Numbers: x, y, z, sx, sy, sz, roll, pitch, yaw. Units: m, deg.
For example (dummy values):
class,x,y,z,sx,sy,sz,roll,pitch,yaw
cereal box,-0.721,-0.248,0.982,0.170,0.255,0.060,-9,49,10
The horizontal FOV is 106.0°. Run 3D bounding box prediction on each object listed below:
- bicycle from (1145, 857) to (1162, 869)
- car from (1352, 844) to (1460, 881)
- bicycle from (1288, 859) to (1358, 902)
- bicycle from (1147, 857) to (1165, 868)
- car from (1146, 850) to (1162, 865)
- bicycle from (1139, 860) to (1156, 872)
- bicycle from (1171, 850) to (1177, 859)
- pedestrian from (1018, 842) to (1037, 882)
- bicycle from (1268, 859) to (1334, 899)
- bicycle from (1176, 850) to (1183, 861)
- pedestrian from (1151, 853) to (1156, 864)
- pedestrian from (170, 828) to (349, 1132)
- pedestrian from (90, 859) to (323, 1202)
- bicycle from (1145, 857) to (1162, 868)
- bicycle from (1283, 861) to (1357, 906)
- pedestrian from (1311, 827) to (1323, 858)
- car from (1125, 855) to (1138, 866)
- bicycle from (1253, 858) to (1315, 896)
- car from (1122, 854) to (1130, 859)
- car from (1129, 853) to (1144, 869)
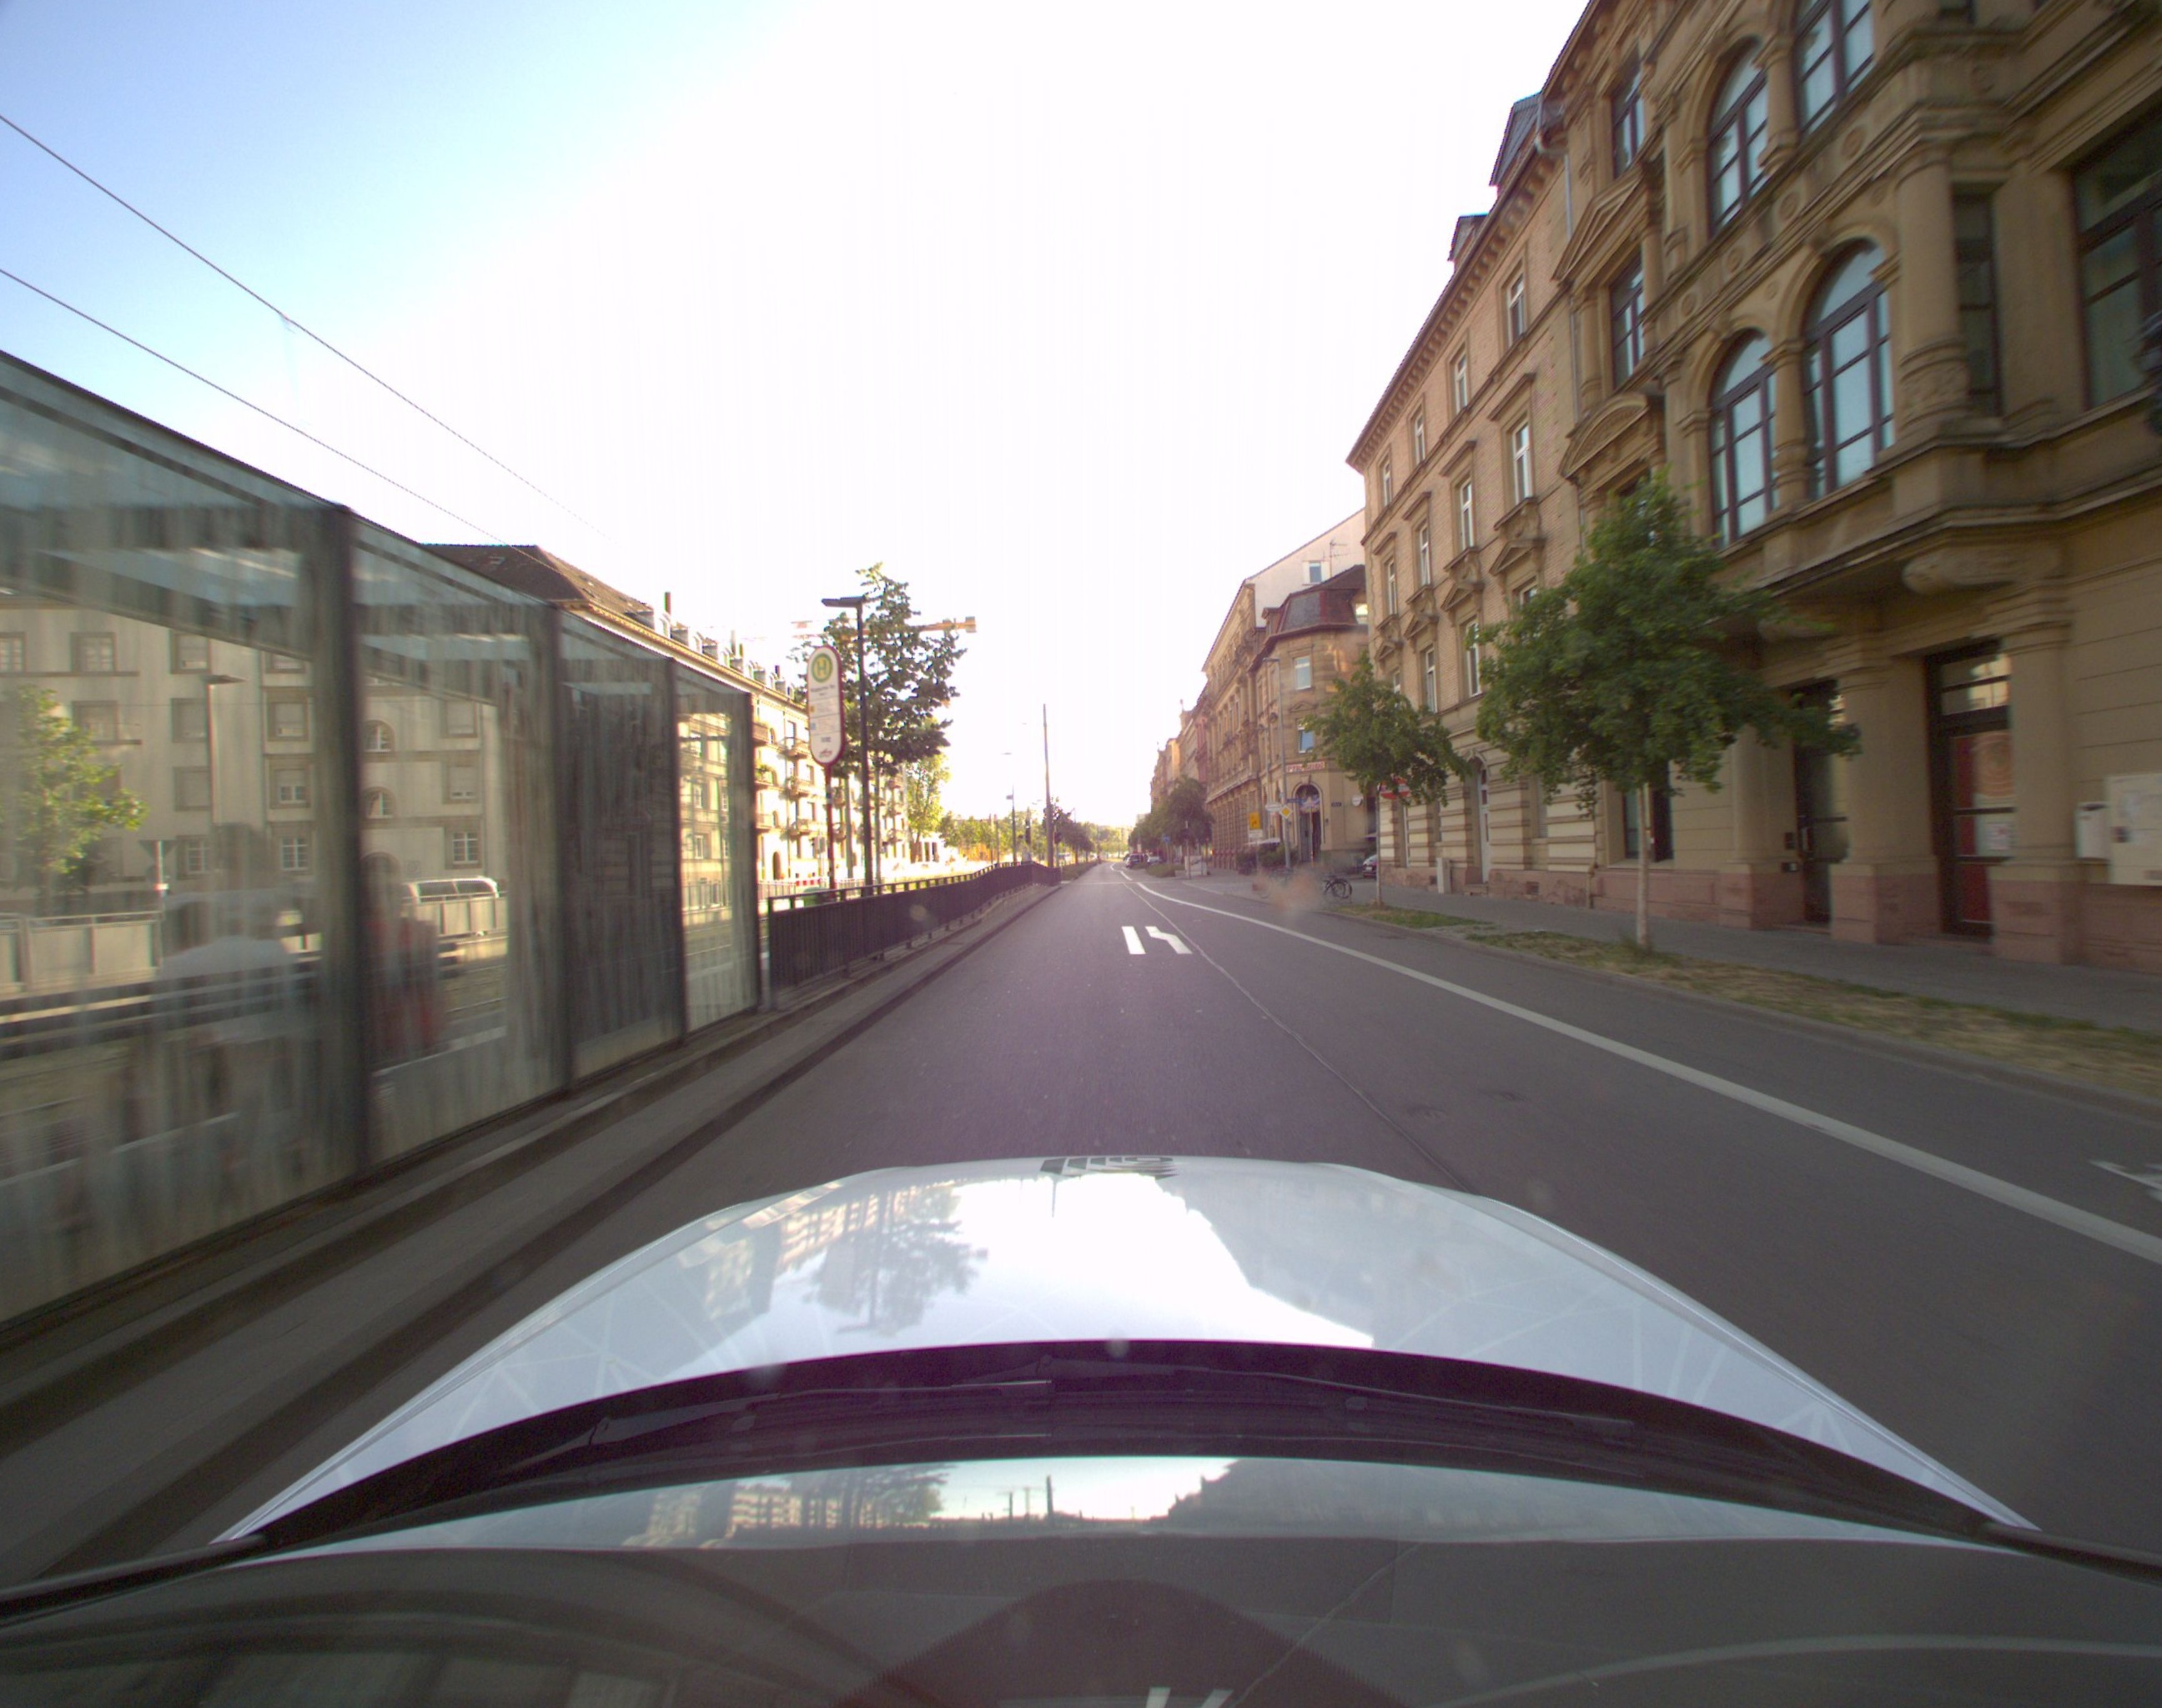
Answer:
class,x,y,z,sx,sy,sz,roll,pitch,yaw
bicycle,7.442,0.942,83.450,1.574,1.048,0.488,-4,0,-7
car,14.386,0.389,36.127,4.141,1.388,1.612,-3,-1,-10
bicycle,7.248,0.785,24.418,1.822,1.064,0.663,-5,1,-4
bicycle,7.799,0.908,84.734,1.689,1.048,0.488,-4,0,-7
car,8.379,0.370,93.281,1.630,1.486,4.217,-5,1,4
bicycle,7.137,1.301,87.857,1.685,1.048,0.490,-6,0,1
bicycle,14.534,0.058,127.585,0.658,1.402,2.353,-3,1,1
pedestrian,-2.235,0.342,34.062,0.652,1.643,0.867,-2,-1,2
bicycle,6.964,0.782,25.809,1.822,1.064,0.663,-5,1,-4
bicycle,14.018,0.224,116.210,0.658,1.402,2.353,-3,1,1
pedestrian,10.133,0.587,113.523,0.623,1.460,0.638,-3,0,1
pedestrian,-3.999,0.579,3.991,0.428,1.385,0.406,-2,-1,-11
pedestrian,-3.312,0.621,3.117,0.406,1.190,0.428,-2,-1,-11
bicycle,7.582,0.912,85.276,1.574,1.048,0.488,-4,0,-7
bicycle,6.752,0.827,23.054,1.822,1.064,0.663,-5,1,-4
pedestrian,13.307,-0.662,45.849,0.442,1.740,0.546,-3,-1,29
car,7.642,0.917,123.132,1.842,1.457,4.160,-3,1,3
bicycle,6.788,0.773,27.287,1.822,1.064,0.663,-5,1,-4
car,14.160,0.809,255.855,1.787,1.464,4.010,-3,0,9
car,7.464,0.925,109.889,1.877,1.937,4.477,-3,1,3
